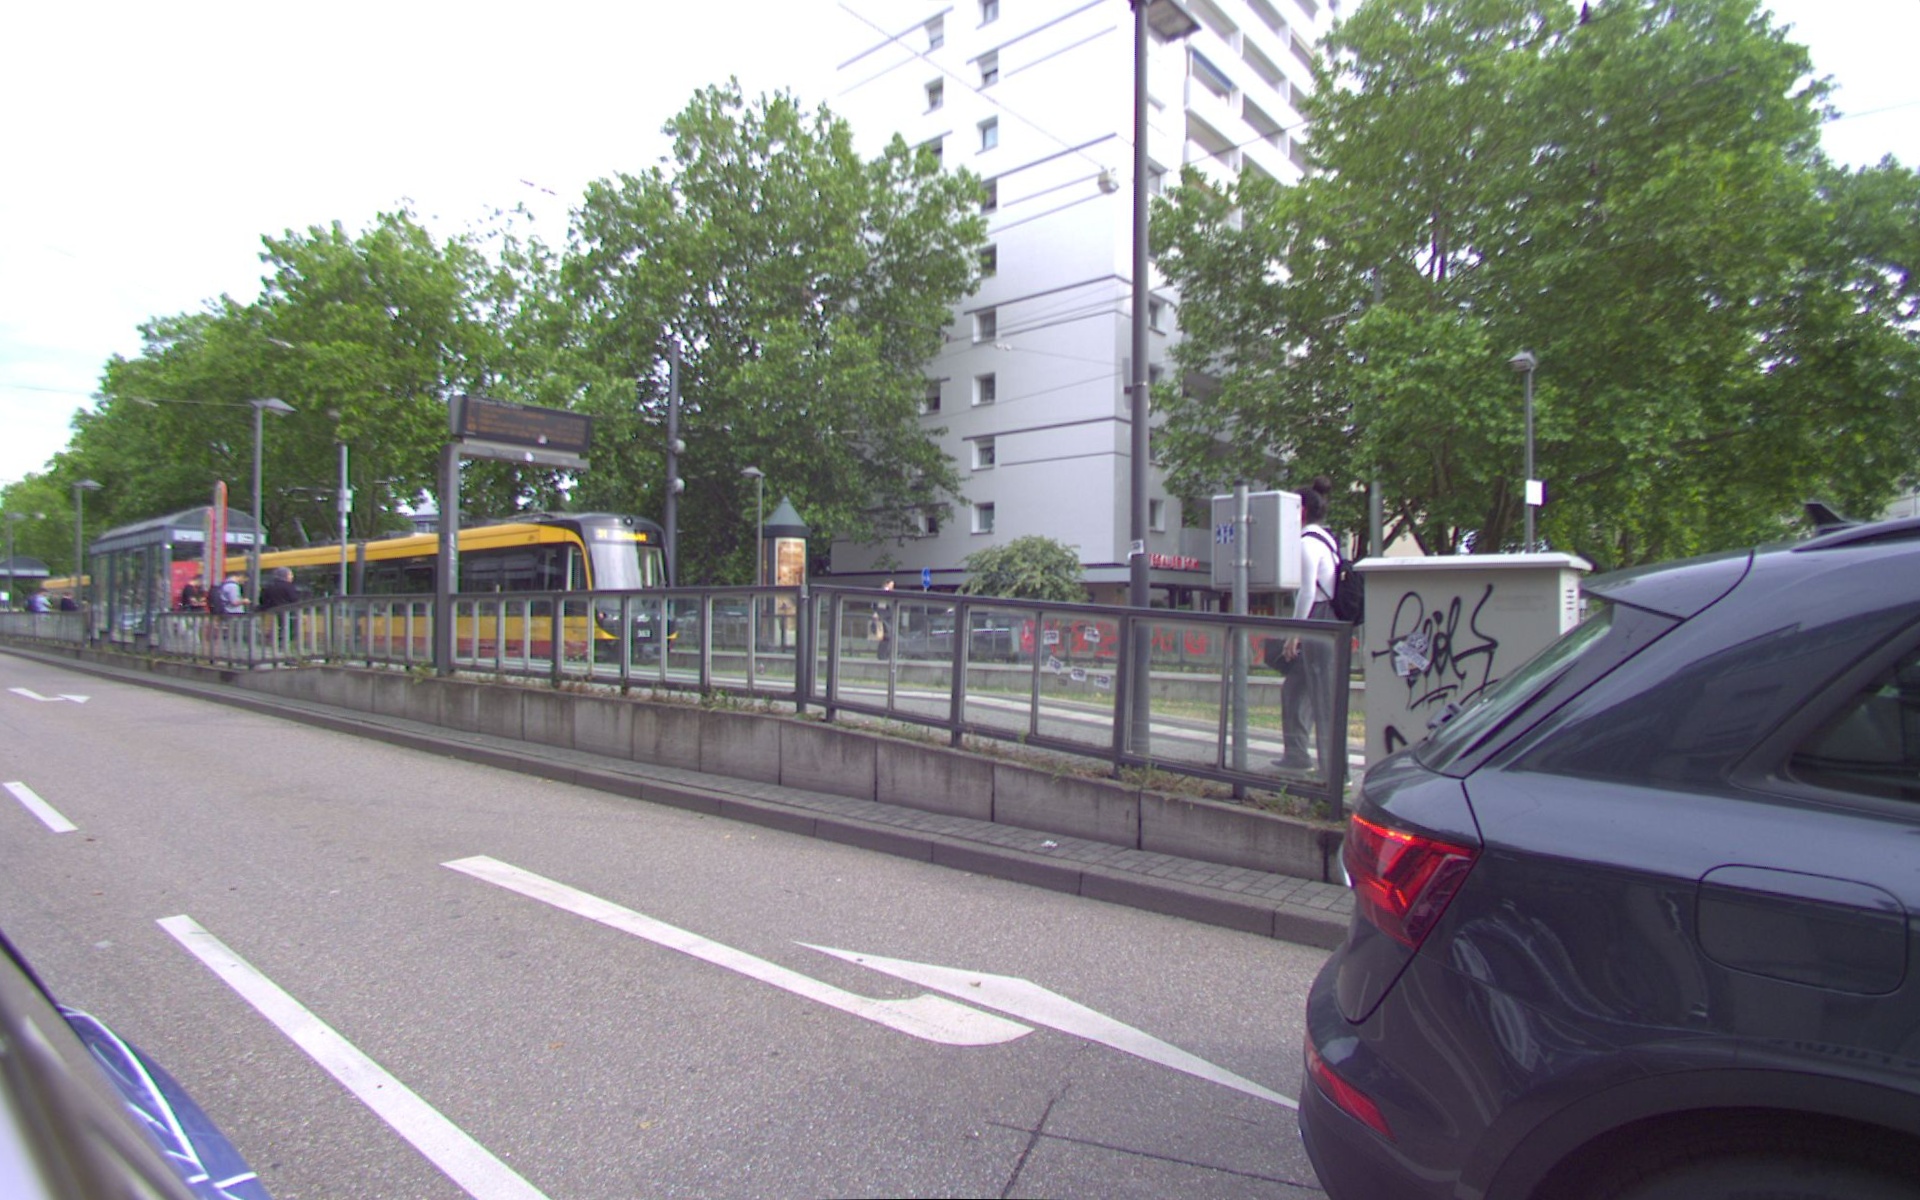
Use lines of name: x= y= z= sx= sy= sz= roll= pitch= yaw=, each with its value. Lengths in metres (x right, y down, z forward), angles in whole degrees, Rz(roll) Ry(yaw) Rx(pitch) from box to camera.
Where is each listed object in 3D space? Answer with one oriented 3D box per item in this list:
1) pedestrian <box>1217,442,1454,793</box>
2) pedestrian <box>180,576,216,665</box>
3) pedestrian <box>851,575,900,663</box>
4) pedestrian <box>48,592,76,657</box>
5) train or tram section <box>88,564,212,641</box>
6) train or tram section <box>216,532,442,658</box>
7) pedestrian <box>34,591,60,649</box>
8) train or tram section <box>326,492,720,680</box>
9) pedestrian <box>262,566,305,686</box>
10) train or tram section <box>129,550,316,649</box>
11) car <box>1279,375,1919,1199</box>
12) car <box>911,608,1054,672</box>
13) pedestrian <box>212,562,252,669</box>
pedestrian: x=2.011 y=0.083 z=5.450 sx=0.979 sy=1.683 sz=0.711 roll=-1 pitch=0 yaw=44
pedestrian: x=-15.922 y=0.418 z=21.159 sx=0.467 sy=1.818 sz=0.607 roll=-1 pitch=0 yaw=-24
pedestrian: x=-1.732 y=0.379 z=20.749 sx=0.666 sy=1.763 sz=0.728 roll=-1 pitch=0 yaw=41
pedestrian: x=-25.566 y=0.692 z=28.820 sx=0.523 sy=1.818 sz=0.607 roll=-1 pitch=0 yaw=-35
train or tram section: x=-43.678 y=0.178 z=54.391 sx=11.039 sy=3.781 sz=3.295 roll=-1 pitch=0 yaw=41
train or tram section: x=-22.639 y=-0.094 z=35.797 sx=12.543 sy=3.781 sz=3.295 roll=-1 pitch=0 yaw=41
pedestrian: x=-29.035 y=0.623 z=32.182 sx=0.523 sy=1.818 sz=0.607 roll=-1 pitch=0 yaw=-35
train or tram section: x=-12.214 y=-0.229 z=26.591 sx=15.196 sy=3.781 sz=3.295 roll=-1 pitch=0 yaw=41
pedestrian: x=-10.526 y=0.387 z=15.739 sx=0.513 sy=1.818 sz=0.606 roll=-1 pitch=0 yaw=-37
train or tram section: x=-33.442 y=0.046 z=45.358 sx=16.241 sy=3.781 sz=3.295 roll=-1 pitch=0 yaw=41
car: x=2.693 y=0.538 z=0.970 sx=4.225 sy=1.649 sz=1.715 roll=-1 pitch=0 yaw=41
car: x=0.571 y=0.919 z=24.044 sx=3.187 sy=1.439 sz=1.577 roll=0 pitch=-1 yaw=12
pedestrian: x=-12.748 y=0.265 z=17.714 sx=0.605 sy=1.818 sz=0.469 roll=-1 pitch=0 yaw=45
